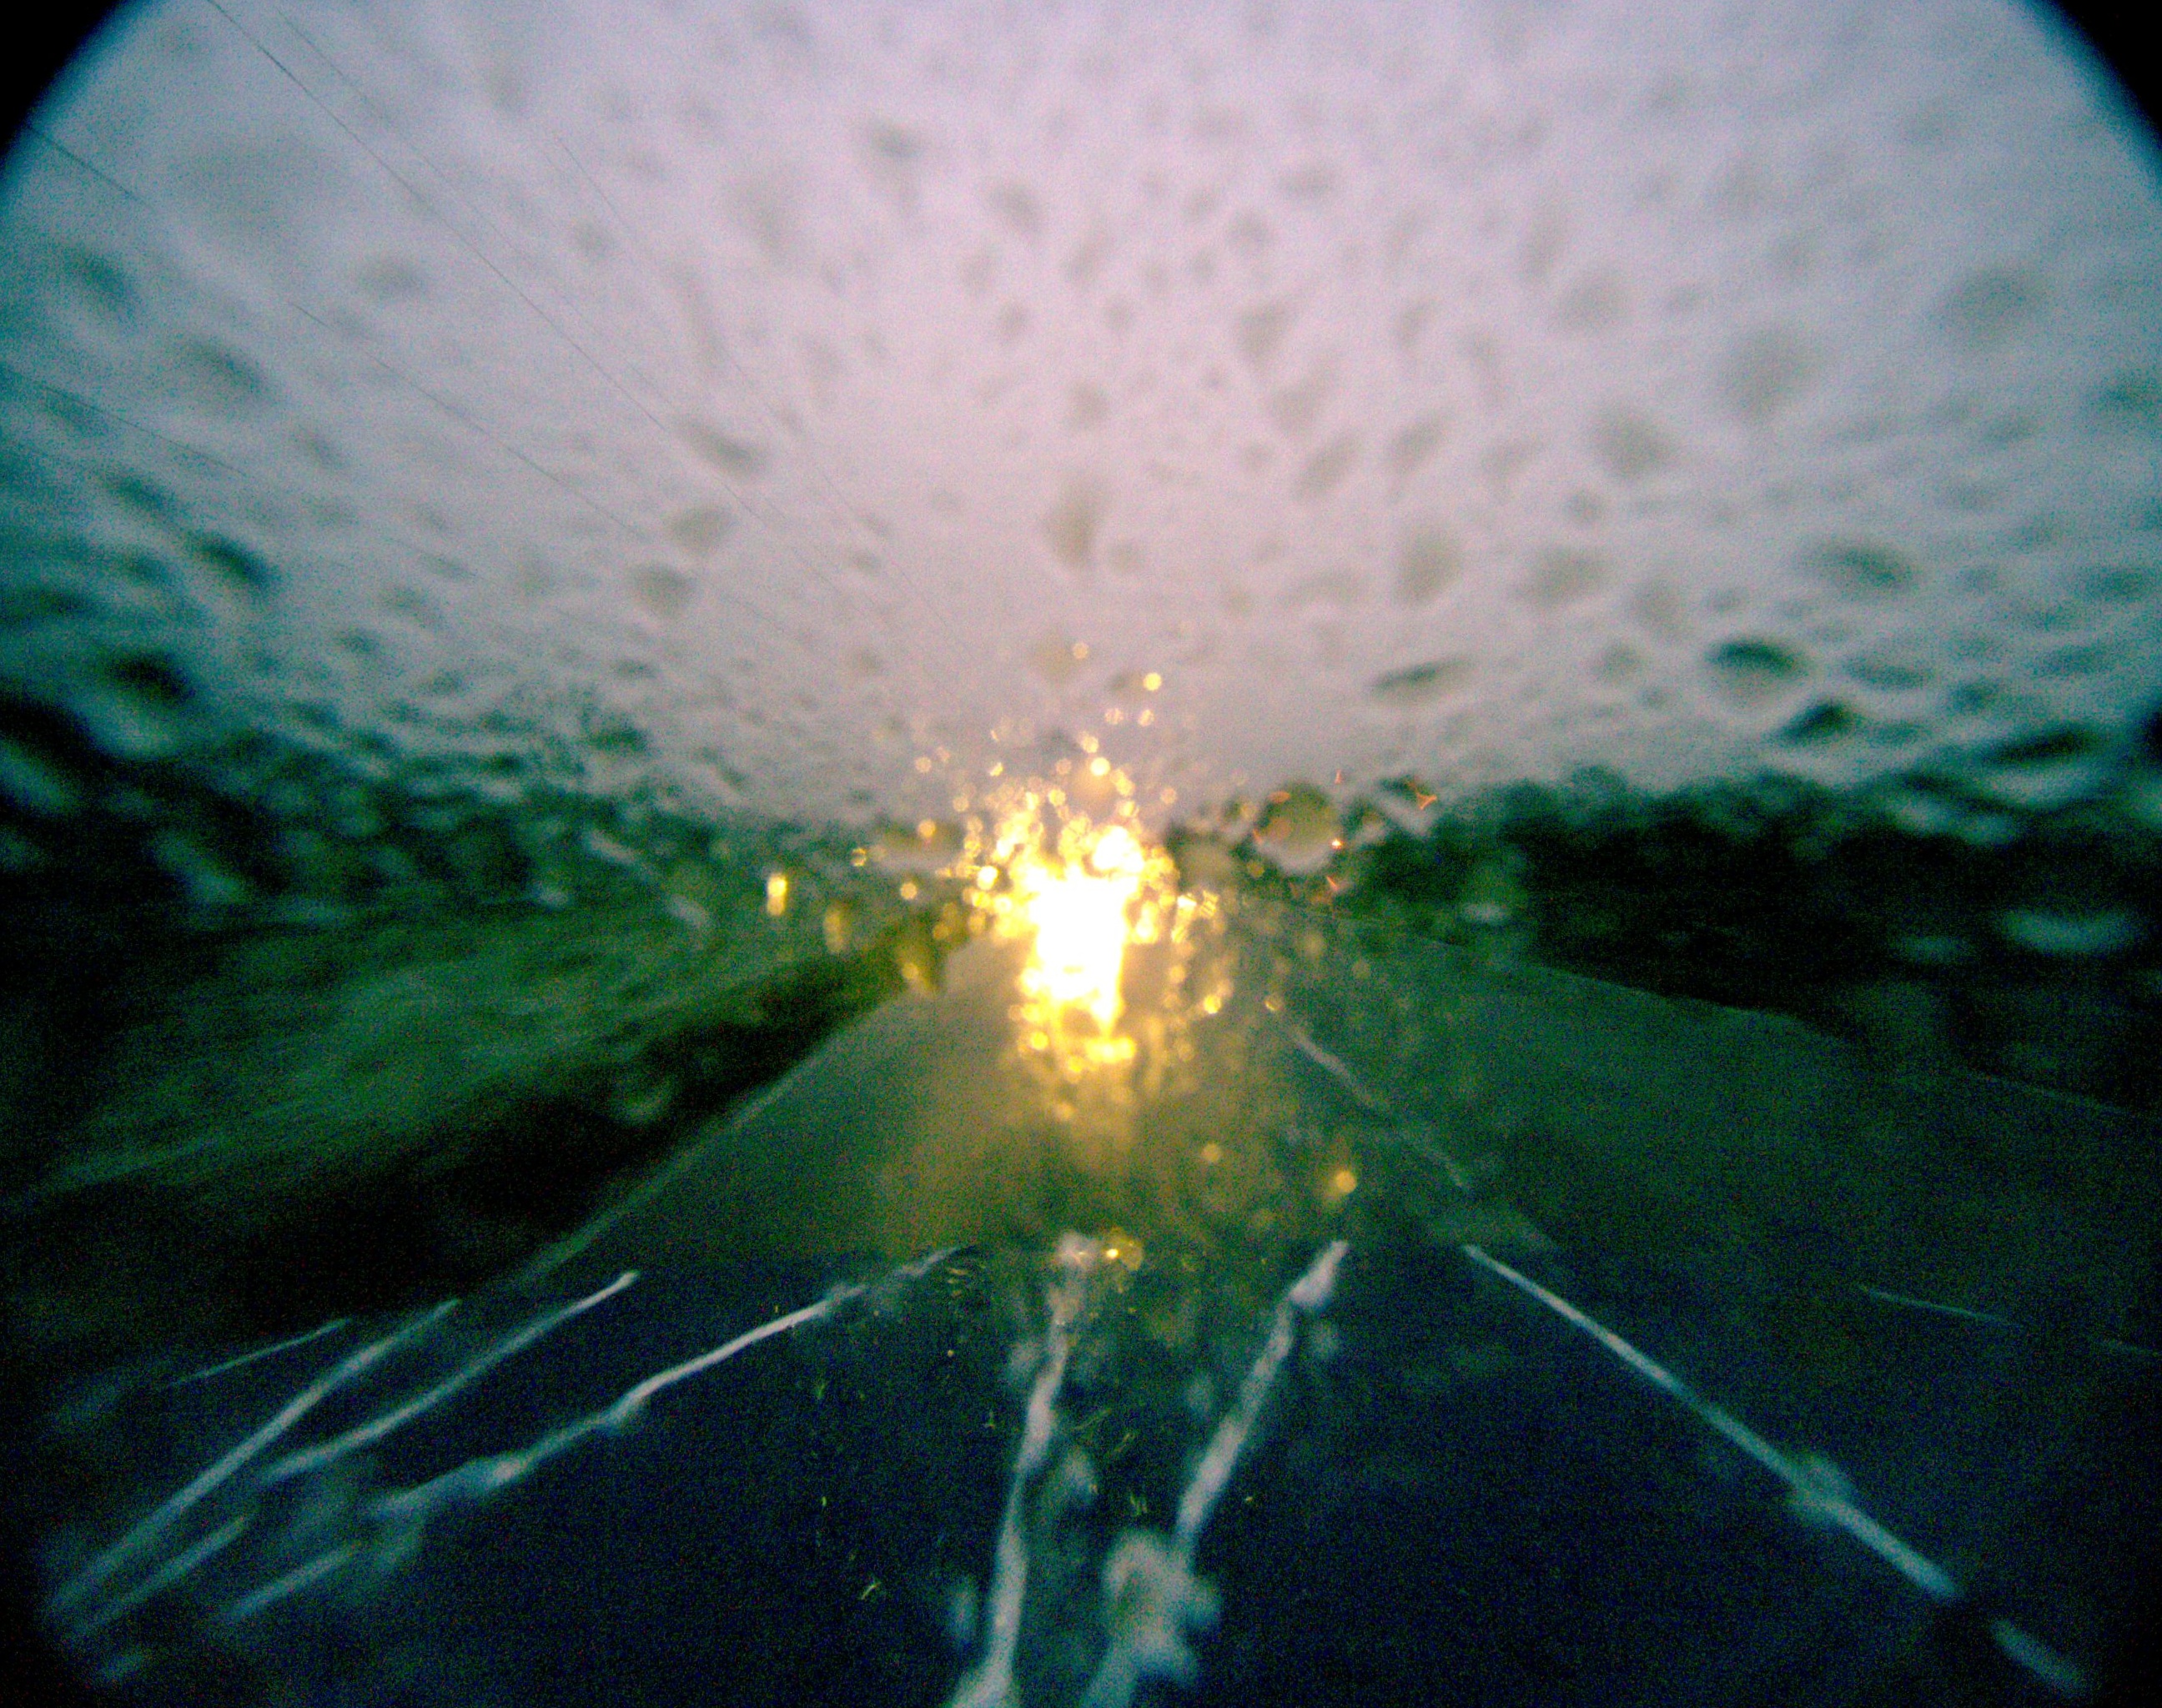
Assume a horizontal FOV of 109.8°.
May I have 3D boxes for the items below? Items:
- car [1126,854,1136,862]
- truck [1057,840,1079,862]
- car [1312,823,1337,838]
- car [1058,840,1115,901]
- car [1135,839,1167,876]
[{"bbox_3d":[10.645,0.865,161.990,1.790,1.582,4.487,-2,0,3],"label":"car"},{"bbox_3d":[-1.798,-0.437,108.977,2.540,2.960,7.858,-2,0,3],"label":"truck"},{"bbox_3d":[29.720,-2.828,92.900,1.726,1.702,4.110,-2,0,0],"label":"car"},{"bbox_3d":[0.213,0.532,27.718,1.857,2.002,4.000,-2,0,0],"label":"car"},{"bbox_3d":[5.490,0.268,60.207,1.958,2.659,6.271,-2,0,1],"label":"car"}]
